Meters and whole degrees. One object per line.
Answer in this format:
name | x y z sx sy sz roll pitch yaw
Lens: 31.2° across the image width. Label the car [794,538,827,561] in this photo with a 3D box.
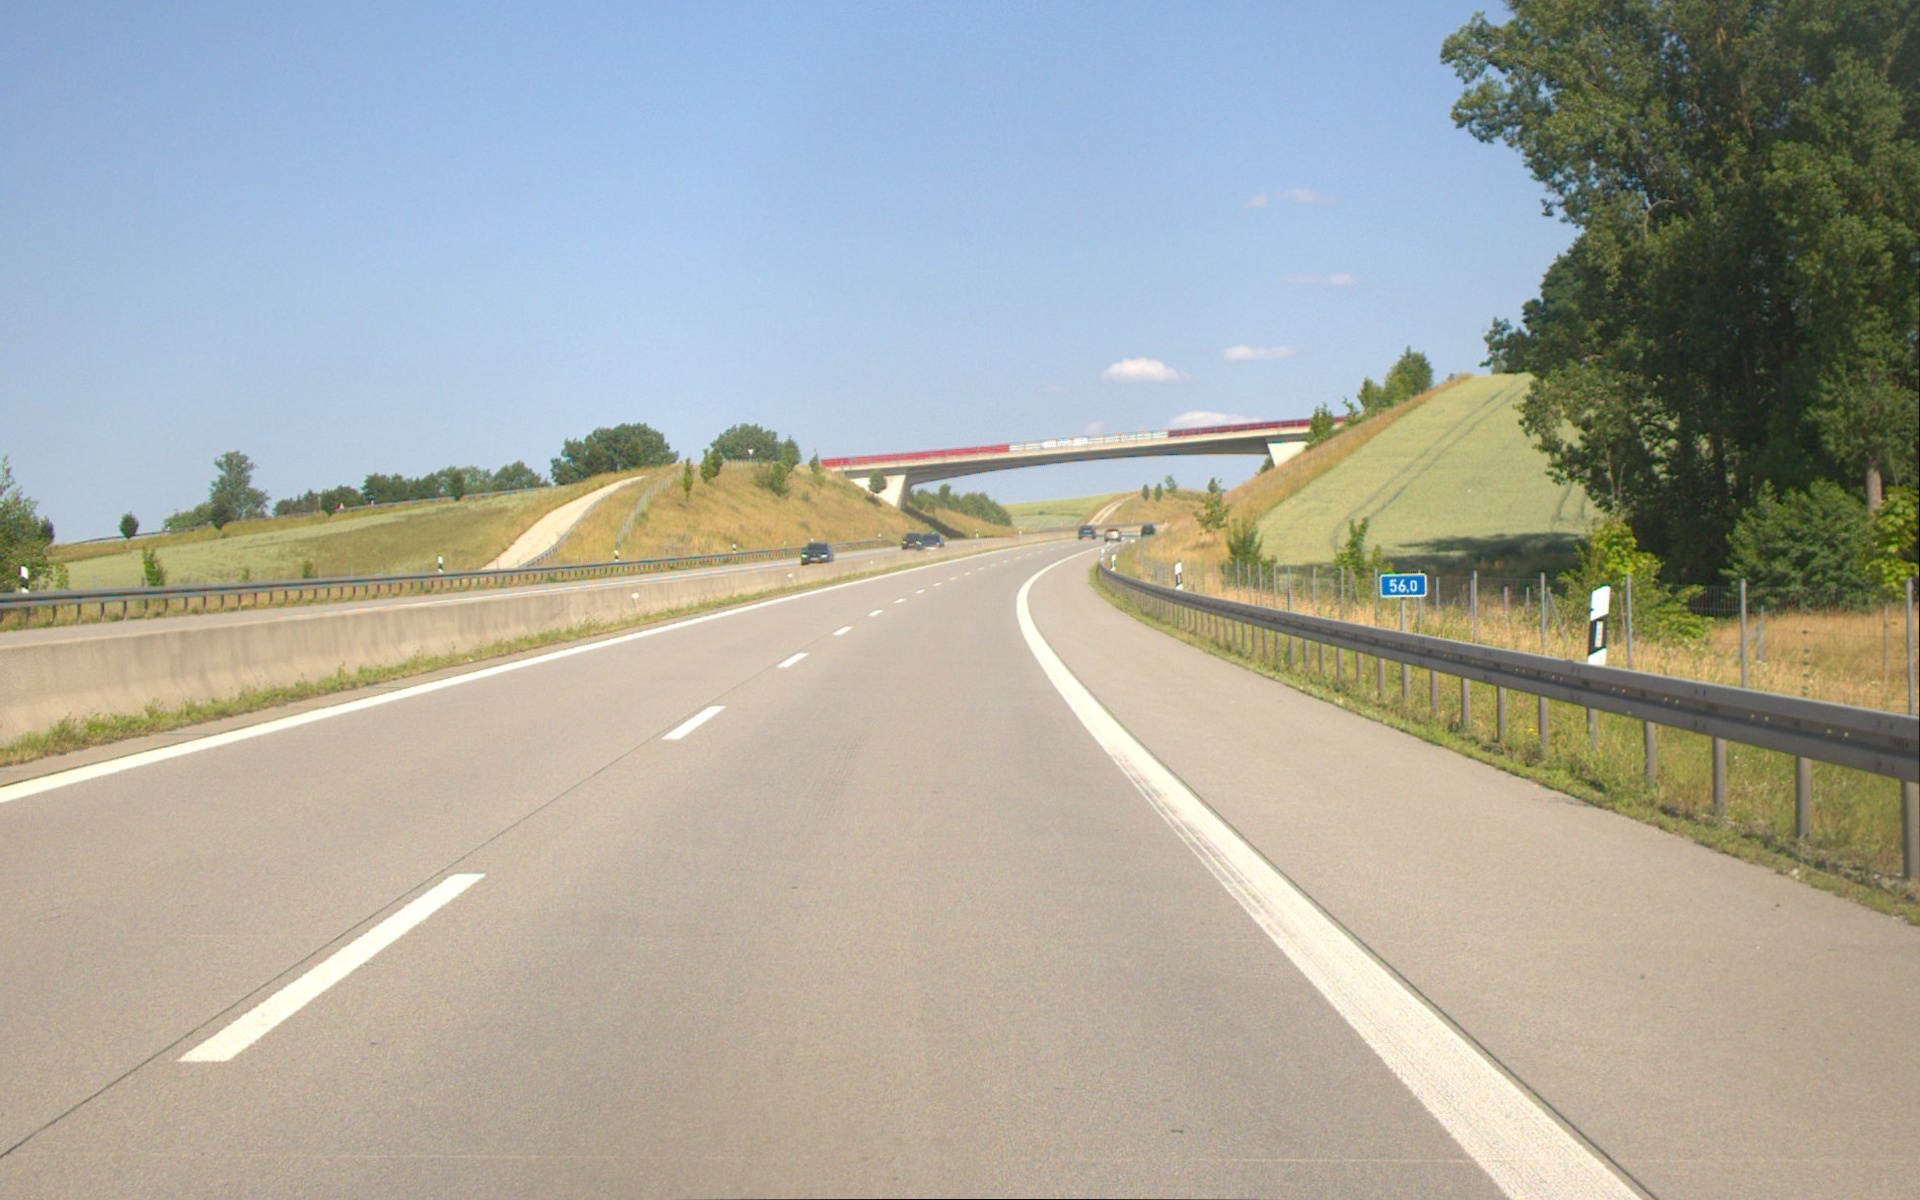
car | -9.511 -3.215 219.399 1.813 1.451 4.511 1 1 1
